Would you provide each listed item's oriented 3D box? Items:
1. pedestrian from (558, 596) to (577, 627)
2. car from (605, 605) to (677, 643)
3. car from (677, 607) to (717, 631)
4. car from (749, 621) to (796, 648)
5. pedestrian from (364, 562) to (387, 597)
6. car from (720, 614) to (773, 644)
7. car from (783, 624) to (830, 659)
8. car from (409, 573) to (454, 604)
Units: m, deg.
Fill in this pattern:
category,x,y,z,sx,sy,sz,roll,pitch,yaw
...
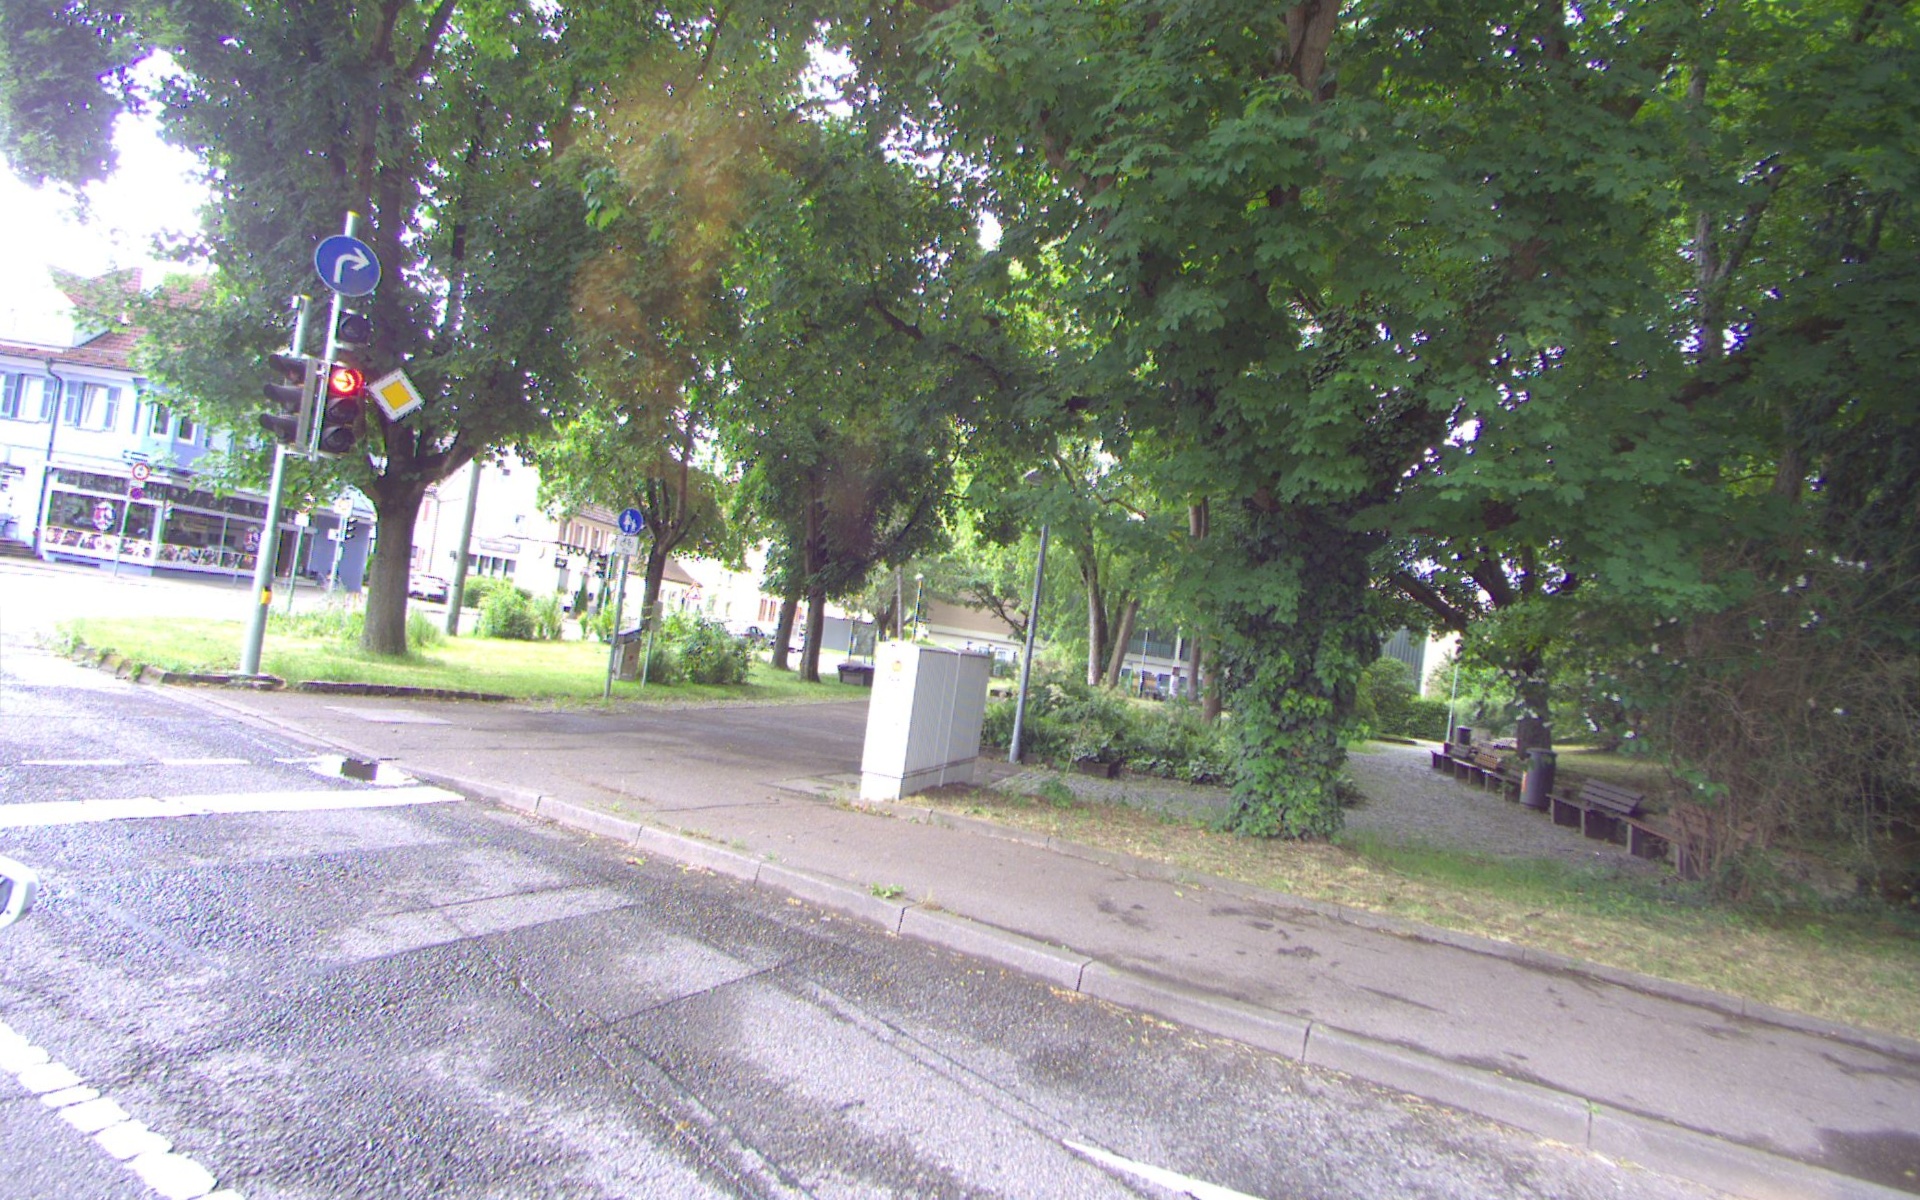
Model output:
category,x,y,z,sx,sy,sz,roll,pitch,yaw
pedestrian,-21.896,0.635,56.110,0.600,1.668,0.610,7,-1,3
car,-14.010,1.091,44.358,1.530,1.336,3.514,7,-2,9
car,-19.372,1.445,74.250,1.528,1.436,4.005,7,-2,4
car,-11.168,2.071,60.108,1.530,1.336,3.514,7,-2,8
pedestrian,-27.201,-0.969,46.815,0.576,1.535,0.460,7,-1,12
car,-11.569,1.597,54.823,1.530,1.336,3.514,7,-2,9
car,-10.057,2.759,66.176,1.750,2.037,4.005,7,-2,7
car,-27.871,-0.600,53.145,1.479,1.384,3.166,8,-2,-19
